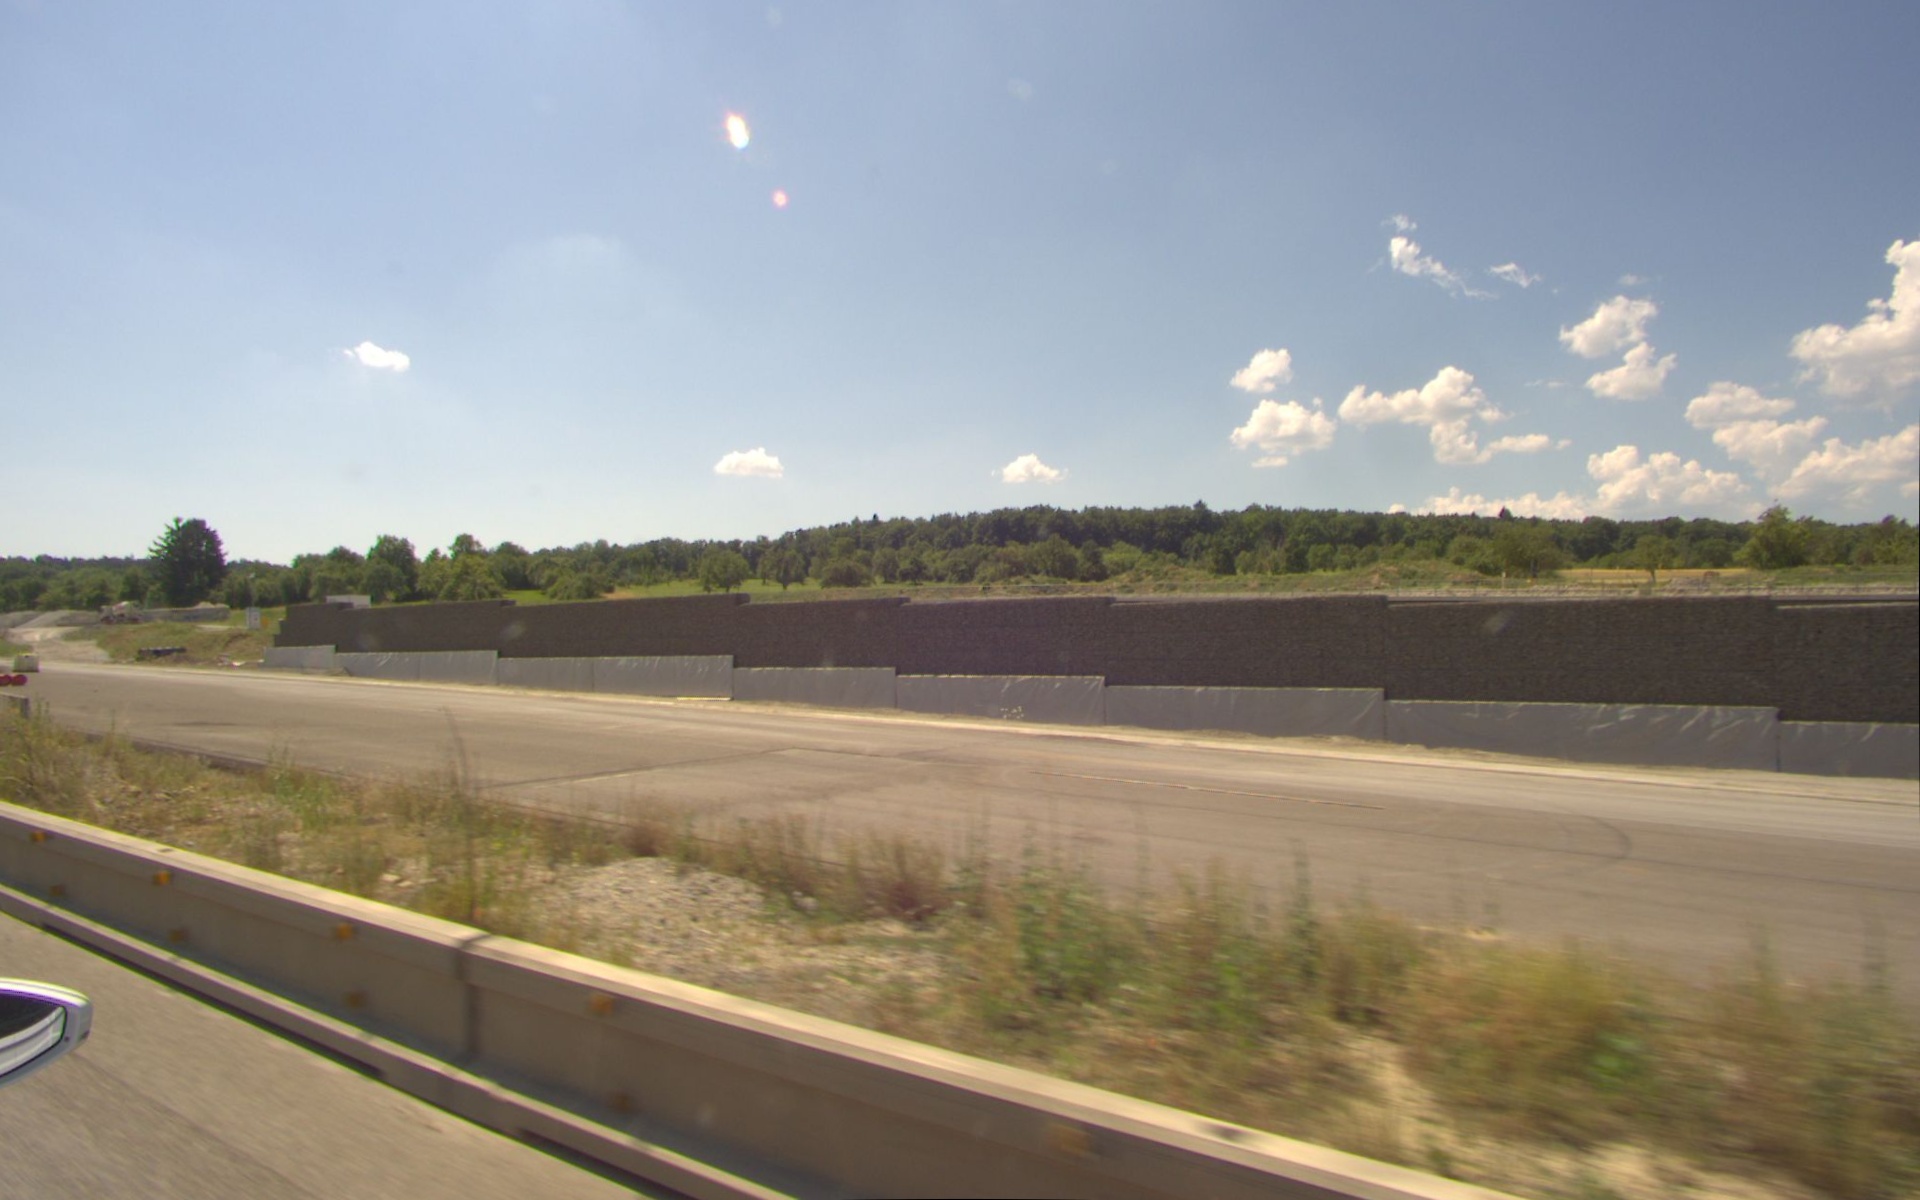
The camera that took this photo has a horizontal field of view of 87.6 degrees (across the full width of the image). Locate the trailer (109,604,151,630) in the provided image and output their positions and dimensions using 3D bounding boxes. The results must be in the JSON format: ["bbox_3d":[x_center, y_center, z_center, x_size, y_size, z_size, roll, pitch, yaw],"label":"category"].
[{"bbox_3d":[-135.915,2.763,163.968,6.636,4.167,2.757,-1,-2,25],"label":"trailer"}]

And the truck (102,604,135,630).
[{"bbox_3d":[-138.977,2.820,165.437,4.033,4.148,2.746,-1,-2,25],"label":"truck"}]
